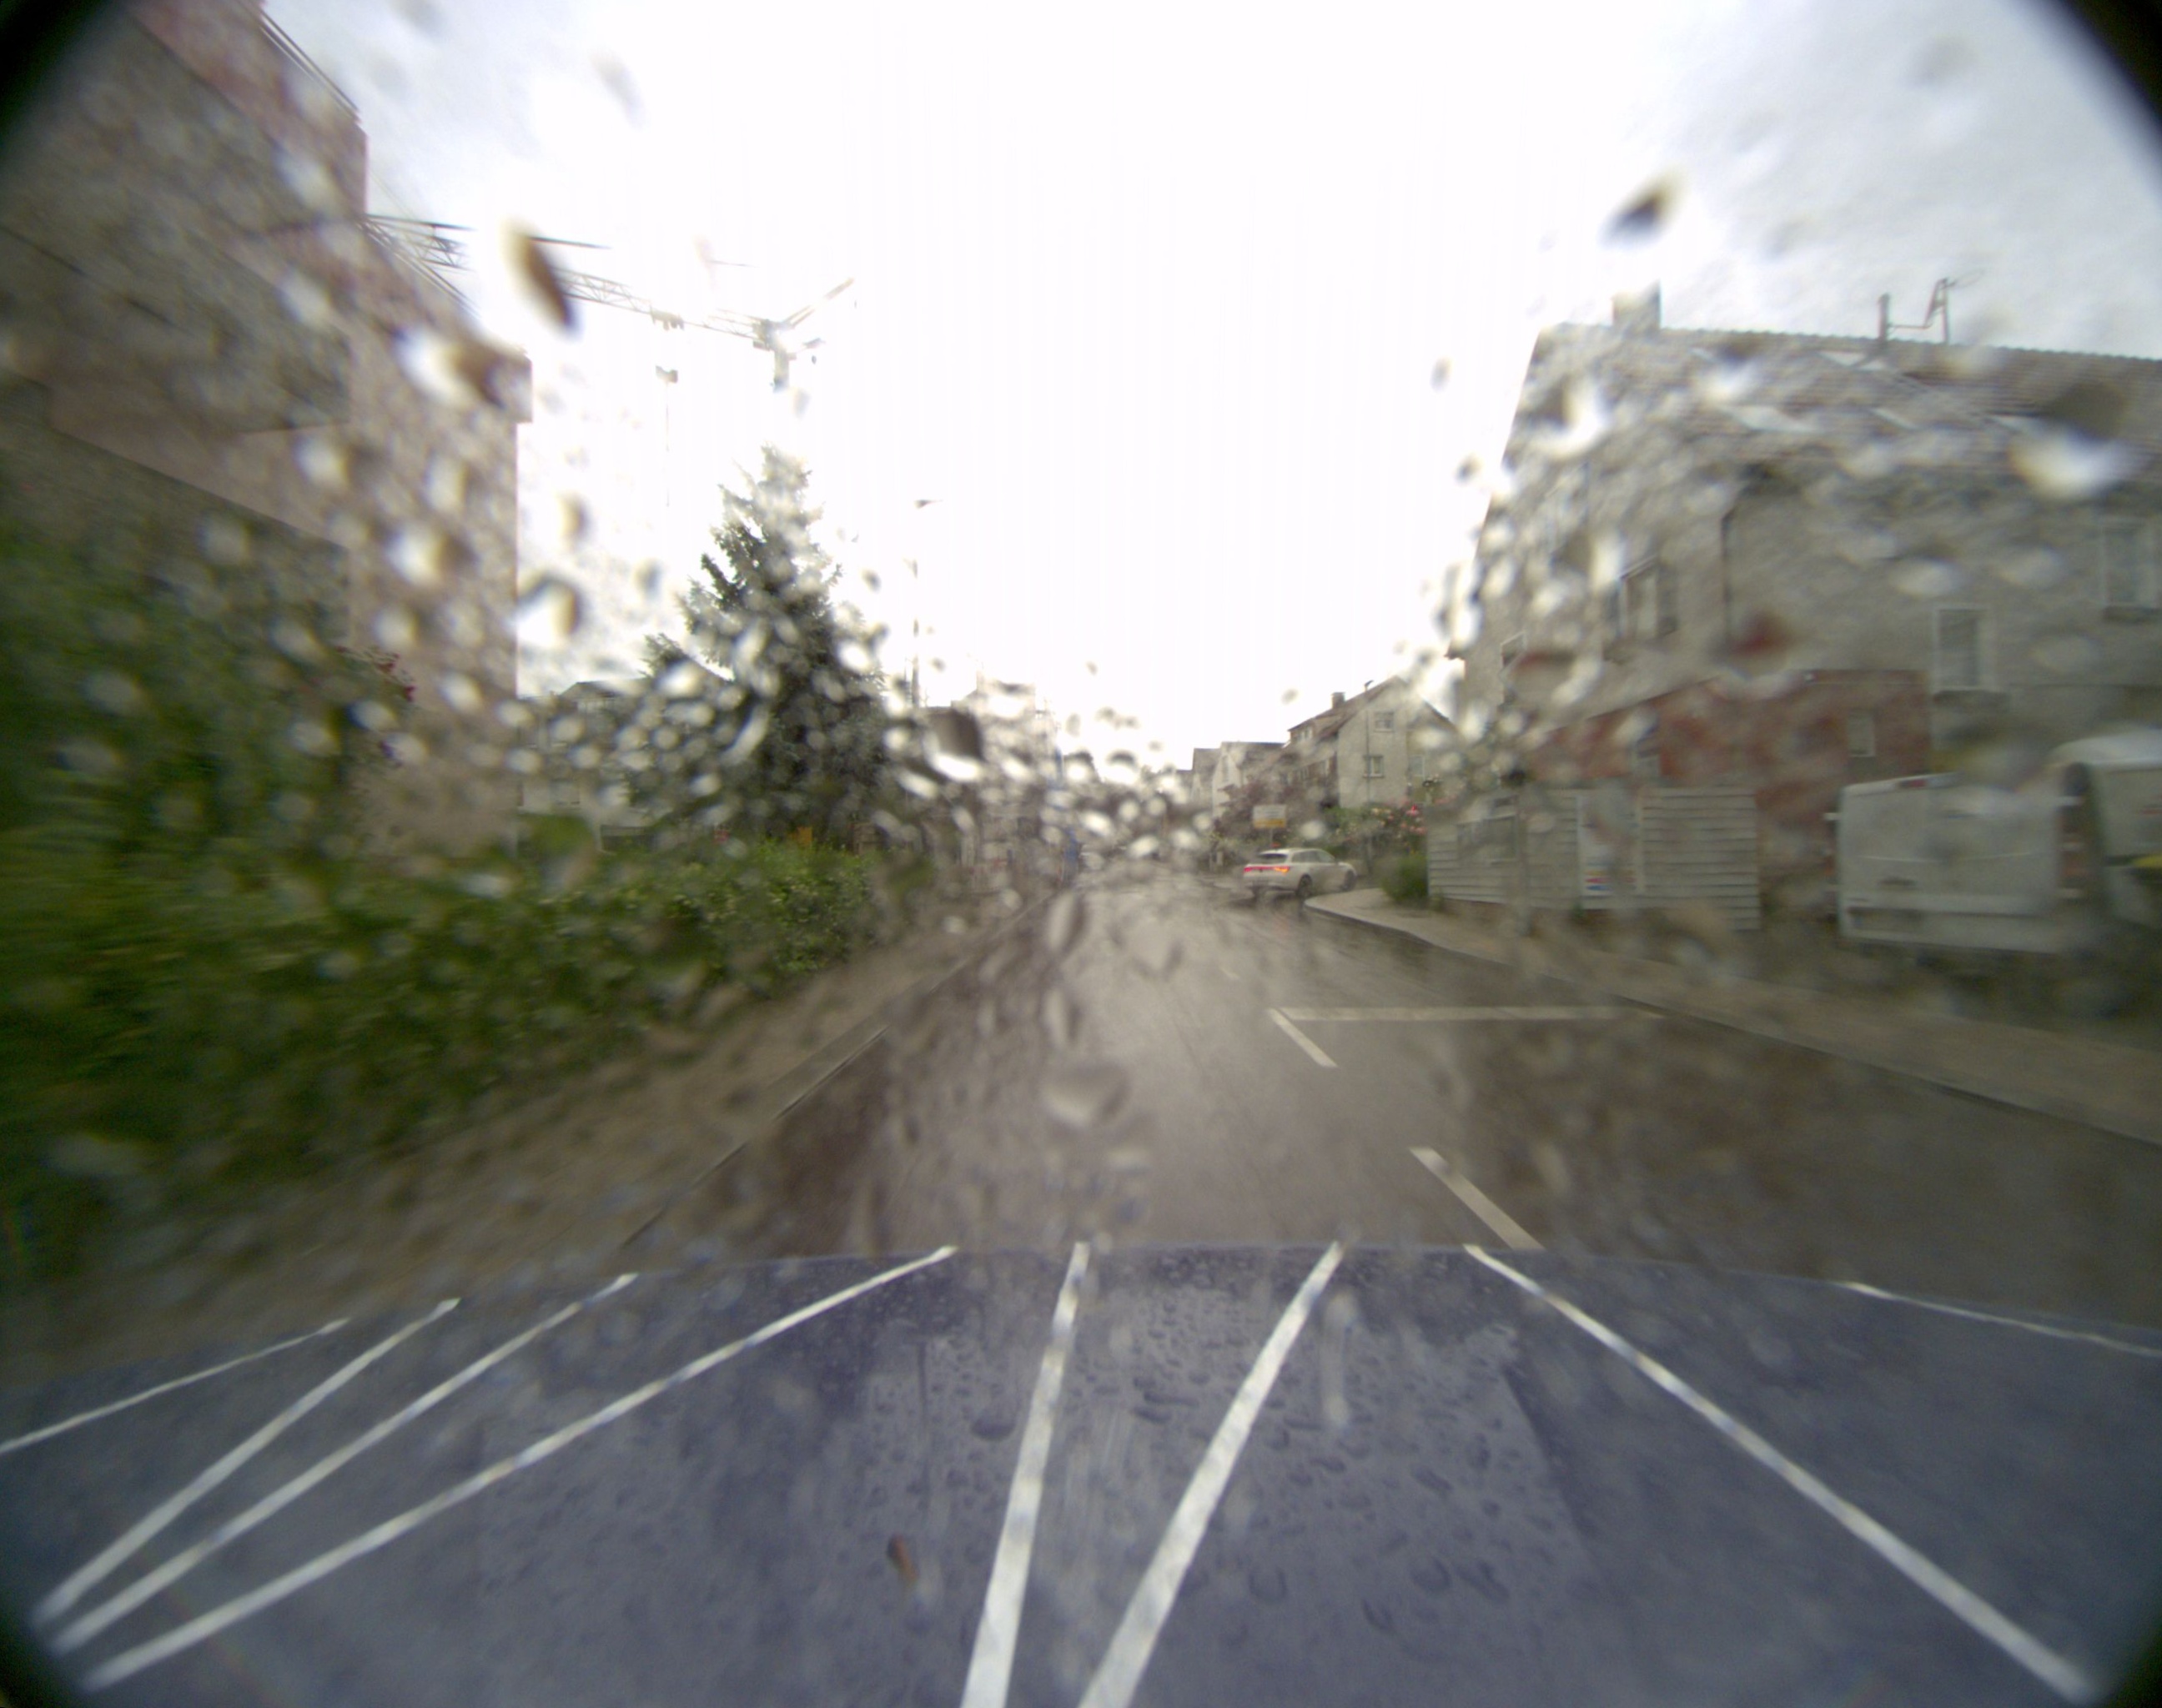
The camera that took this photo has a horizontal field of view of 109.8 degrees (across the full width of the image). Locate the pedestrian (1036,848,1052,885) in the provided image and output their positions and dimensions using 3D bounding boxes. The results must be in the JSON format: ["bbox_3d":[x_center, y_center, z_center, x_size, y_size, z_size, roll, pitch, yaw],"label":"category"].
[{"bbox_3d":[-1.605,0.535,33.176,0.655,1.572,0.436,0,1,2],"label":"pedestrian"}]

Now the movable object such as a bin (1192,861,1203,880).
[{"bbox_3d":[6.418,0.896,41.817,0.521,1.020,0.414,-2,1,3],"label":"movable object such as a bin"}]

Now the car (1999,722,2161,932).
[{"bbox_3d":[15.864,-0.488,9.712,5.860,2.513,2.068,-3,1,-2],"label":"car"}]

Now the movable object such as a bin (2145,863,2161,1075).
[{"bbox_3d":[7.601,0.734,4.473,1.289,1.360,0.996,-1,1,-1],"label":"movable object such as a bin"}]

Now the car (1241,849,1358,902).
[{"bbox_3d":[6.842,0.592,23.574,4.217,1.401,1.587,-2,2,-44],"label":"car"}]

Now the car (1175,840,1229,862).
[{"bbox_3d":[9.916,-0.262,62.582,4.000,1.696,1.780,-2,1,-10],"label":"car"}]

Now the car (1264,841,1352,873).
[{"bbox_3d":[11.715,0.132,39.276,3.999,1.590,1.720,0,1,-6],"label":"car"}]

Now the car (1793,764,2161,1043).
[{"bbox_3d":[9.419,0.226,6.711,4.522,1.967,1.999,-5,-1,-6],"label":"car"}]

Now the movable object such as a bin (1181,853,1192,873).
[{"bbox_3d":[5.887,0.515,42.348,0.521,1.043,0.414,-5,1,3],"label":"movable object such as a bin"}]

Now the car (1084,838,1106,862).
[{"bbox_3d":[1.291,-0.398,70.668,1.711,2.089,3.939,-2,1,-2],"label":"car"}]

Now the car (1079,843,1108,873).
[{"bbox_3d":[0.927,0.264,53.550,1.827,1.964,4.517,-1,1,2],"label":"car"}]

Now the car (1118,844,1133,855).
[{"bbox_3d":[6.069,-0.637,104.243,1.708,1.508,3.591,-1,1,-1],"label":"car"}]
